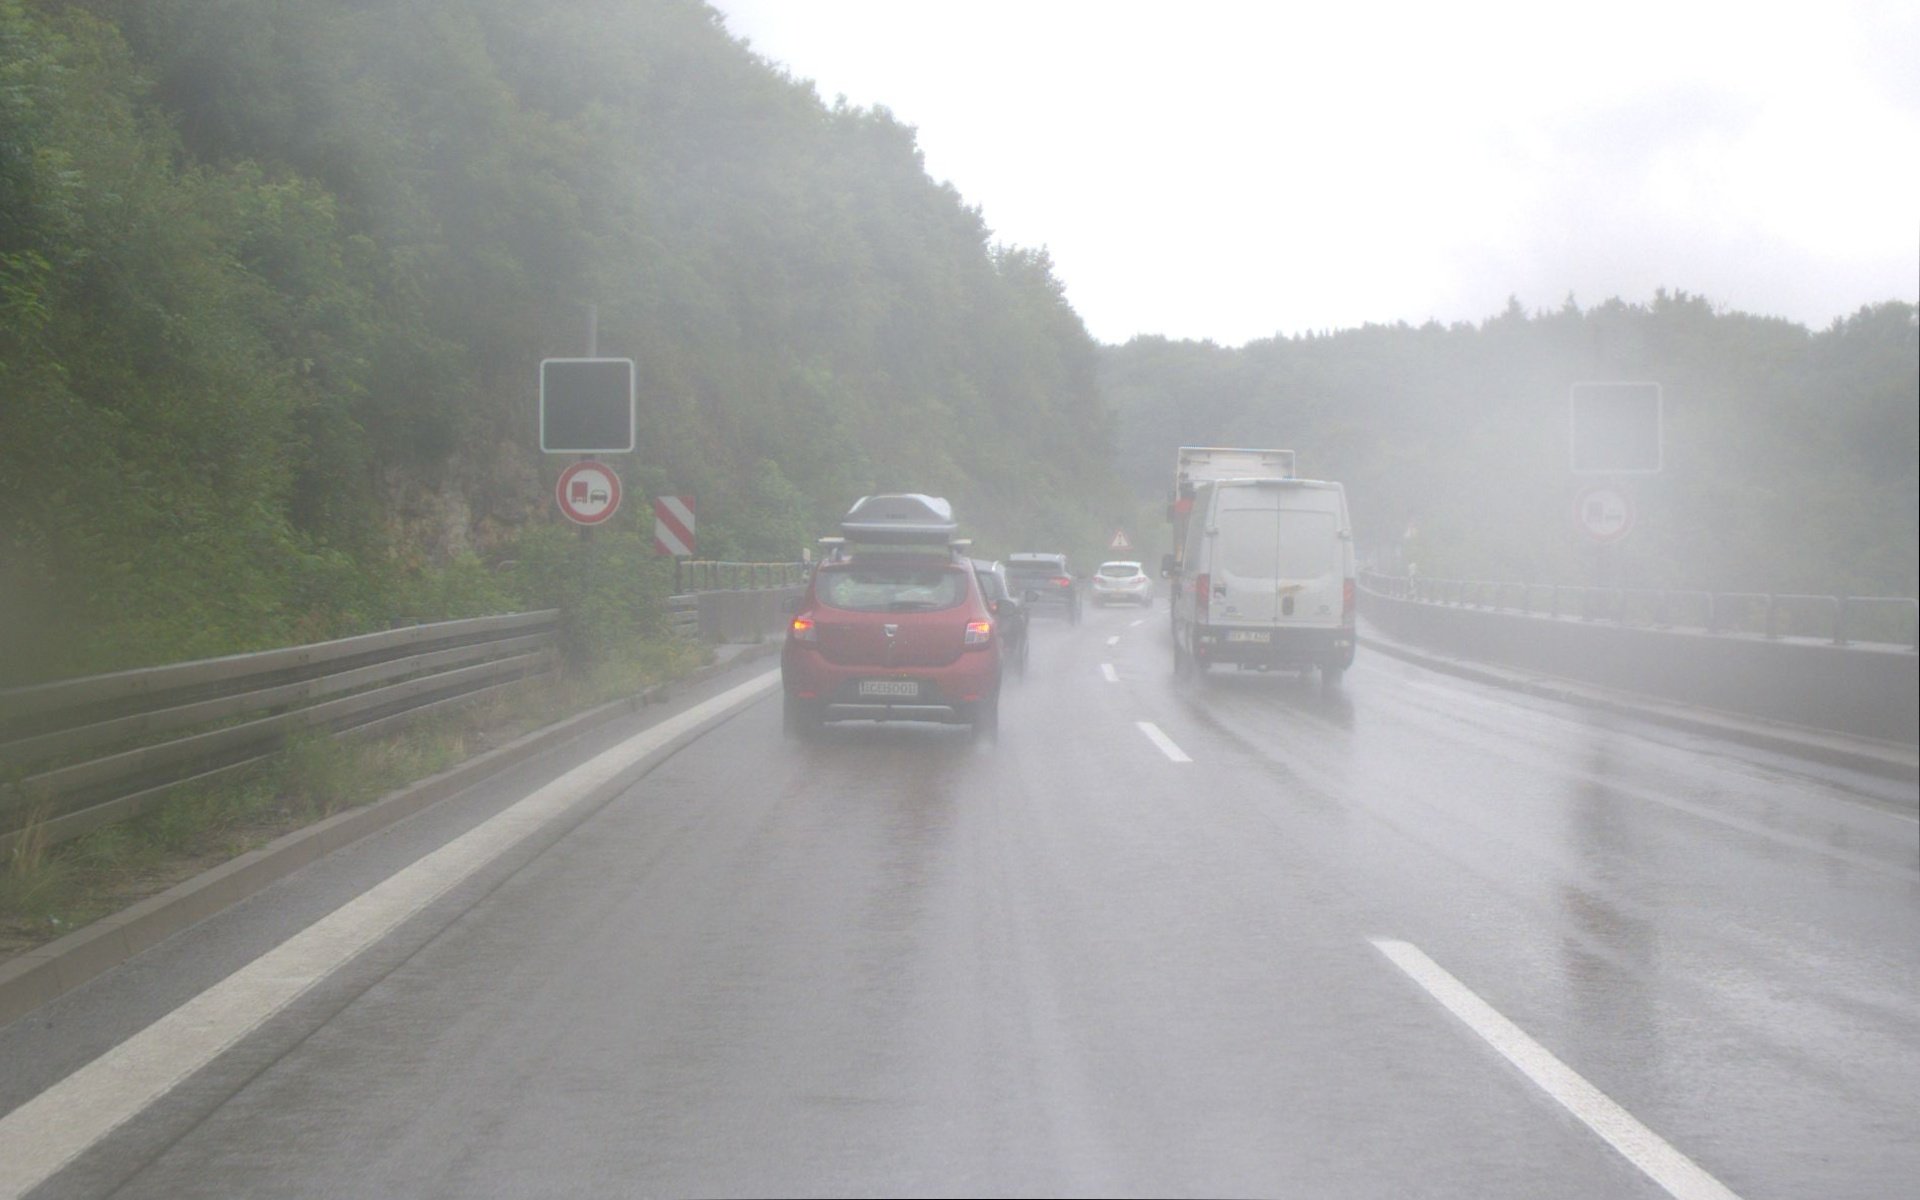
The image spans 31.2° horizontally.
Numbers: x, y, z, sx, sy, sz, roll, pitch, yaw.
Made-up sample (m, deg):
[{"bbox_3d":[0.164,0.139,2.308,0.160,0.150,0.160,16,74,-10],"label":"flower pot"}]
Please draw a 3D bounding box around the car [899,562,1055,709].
[{"bbox_3d":[0.225,0.419,43.346,1.833,1.709,3.645,-2,0,1],"label":"car"}]

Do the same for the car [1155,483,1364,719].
[{"bbox_3d":[3.811,-0.029,45.010,2.206,2.784,7.382,1,1,1],"label":"car"}]

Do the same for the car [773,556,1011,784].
[{"bbox_3d":[-0.529,0.529,28.309,1.758,1.679,4.000,-2,0,0],"label":"car"}]

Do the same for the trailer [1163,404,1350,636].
[{"bbox_3d":[5.642,-1.445,66.046,3.219,3.985,13.522,0,1,5],"label":"trailer"}]

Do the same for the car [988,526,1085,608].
[{"bbox_3d":[1.723,-0.733,76.242,1.875,1.700,3.888,-2,0,5],"label":"car"}]

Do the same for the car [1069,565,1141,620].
[{"bbox_3d":[4.585,-0.242,107.952,1.994,1.634,3.999,-2,0,6],"label":"car"}]

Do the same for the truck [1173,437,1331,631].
[{"bbox_3d":[6.188,-1.373,73.132,3.220,3.964,5.438,0,0,4],"label":"truck"}]
